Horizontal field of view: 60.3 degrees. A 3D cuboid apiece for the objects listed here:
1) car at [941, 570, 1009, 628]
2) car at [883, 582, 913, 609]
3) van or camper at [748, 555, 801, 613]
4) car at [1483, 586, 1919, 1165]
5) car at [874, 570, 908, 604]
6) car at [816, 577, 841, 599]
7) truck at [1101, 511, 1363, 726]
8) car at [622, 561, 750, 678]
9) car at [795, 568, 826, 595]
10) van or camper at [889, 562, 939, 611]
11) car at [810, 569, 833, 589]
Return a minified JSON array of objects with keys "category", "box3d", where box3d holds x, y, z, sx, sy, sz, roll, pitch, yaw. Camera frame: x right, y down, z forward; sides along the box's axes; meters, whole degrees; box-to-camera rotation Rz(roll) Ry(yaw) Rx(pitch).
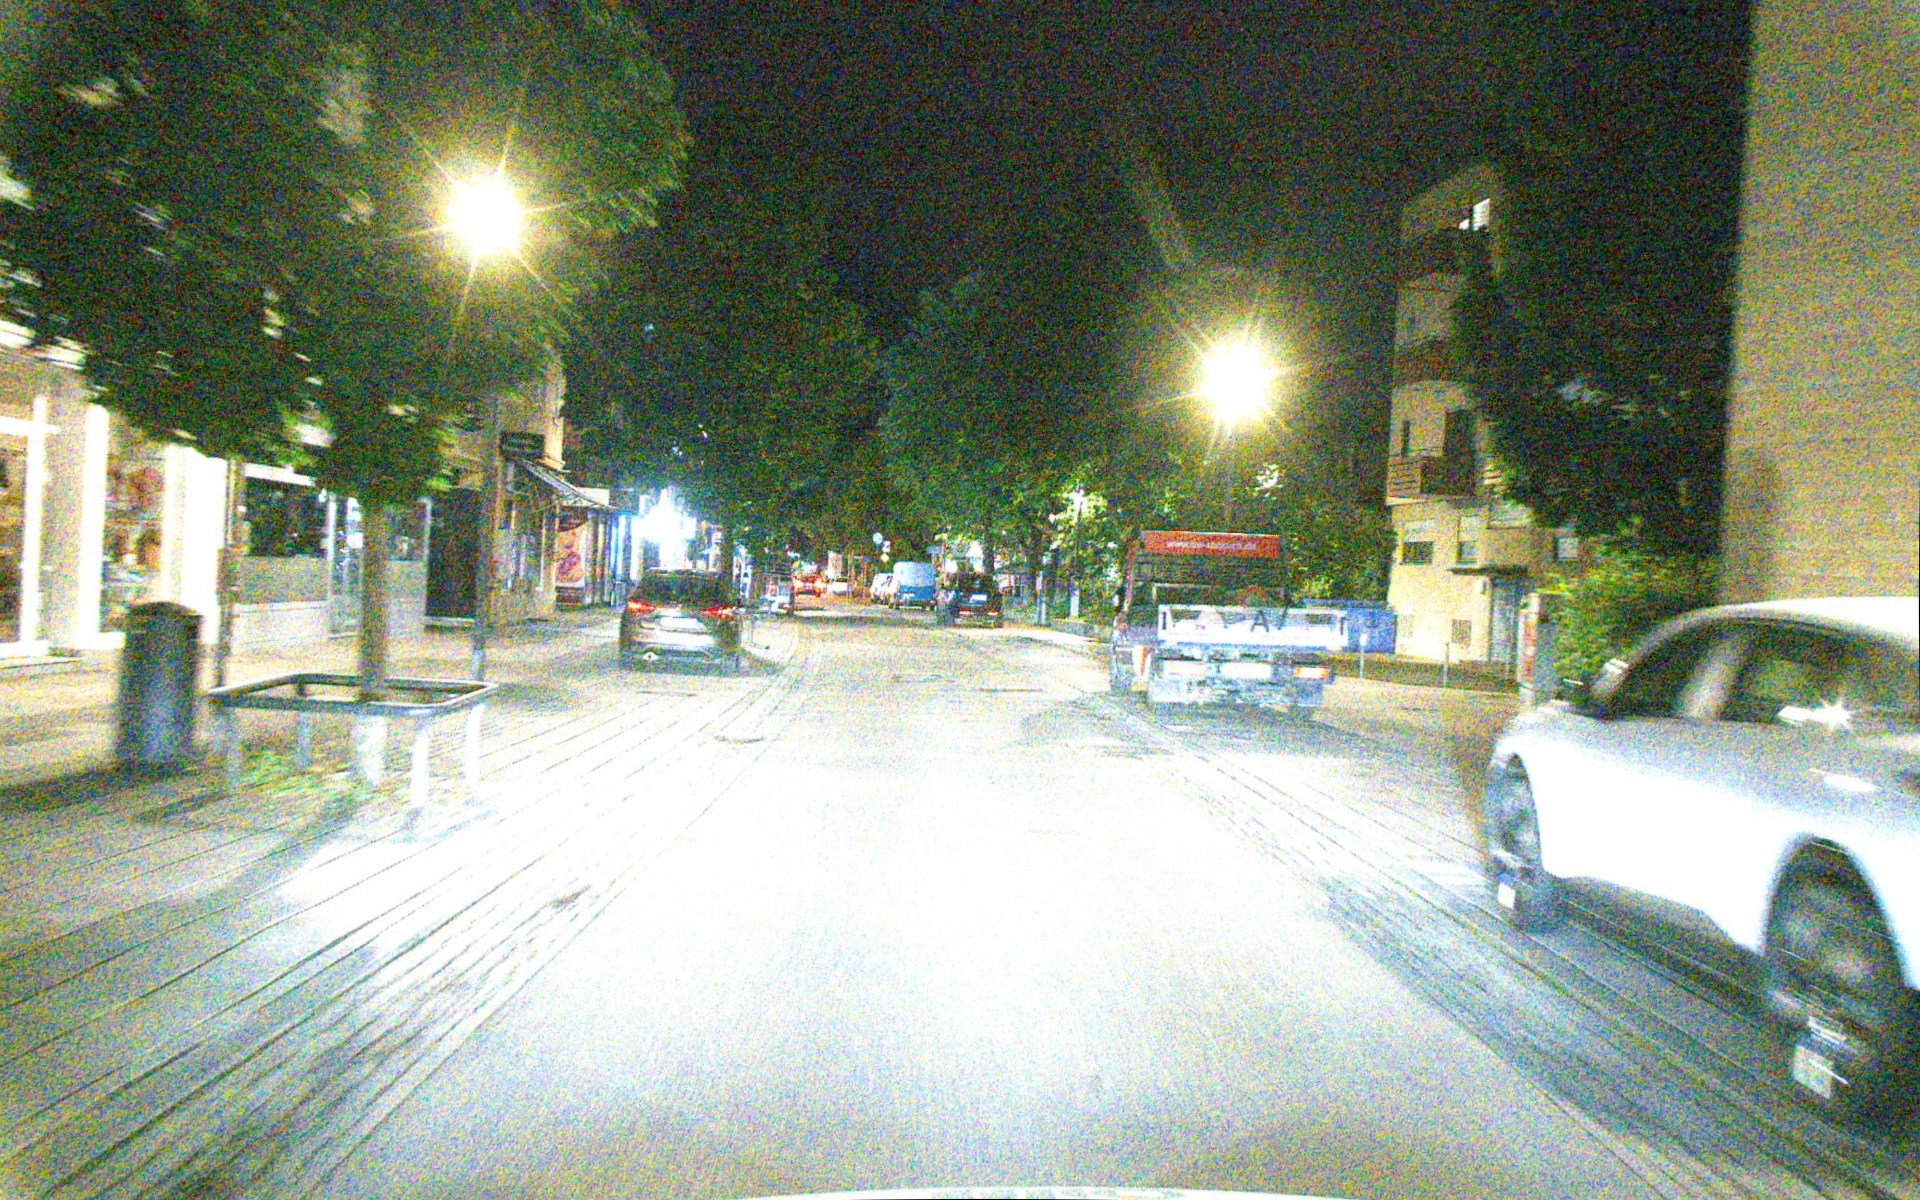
[{"category":"car","box3d":[0.476,-0.066,56.827,1.780,1.860,4.341,2,0,-7]},{"category":"car","box3d":[-3.589,-0.257,95.337,1.501,1.443,3.841,2,0,-6]},{"category":"van or camper","box3d":[-7.123,-0.621,63.357,1.831,2.045,4.255,4,0,-7]},{"category":"car","box3d":[3.419,0.727,6.016,1.752,1.517,4.059,1,0,0]},{"category":"car","box3d":[-4.269,-0.798,101.460,1.804,1.934,3.841,2,0,-6]},{"category":"car","box3d":[-10.212,-0.951,128.636,1.804,1.569,3.841,2,0,-6]},{"category":"truck","box3d":[3.319,0.181,21.558,2.289,2.352,5.779,2,1,-1]},{"category":"car","box3d":[-4.174,0.255,25.725,1.641,1.570,4.225,3,0,-6]},{"category":"car","box3d":[-10.832,-1.328,119.767,1.956,1.855,3.993,3,0,-8]},{"category":"van or camper","box3d":[-2.315,-0.699,82.750,2.068,2.357,4.255,1,1,-7]},{"category":"car","box3d":[-13.465,-2.005,160.629,1.956,1.855,3.994,3,0,-7]}]
